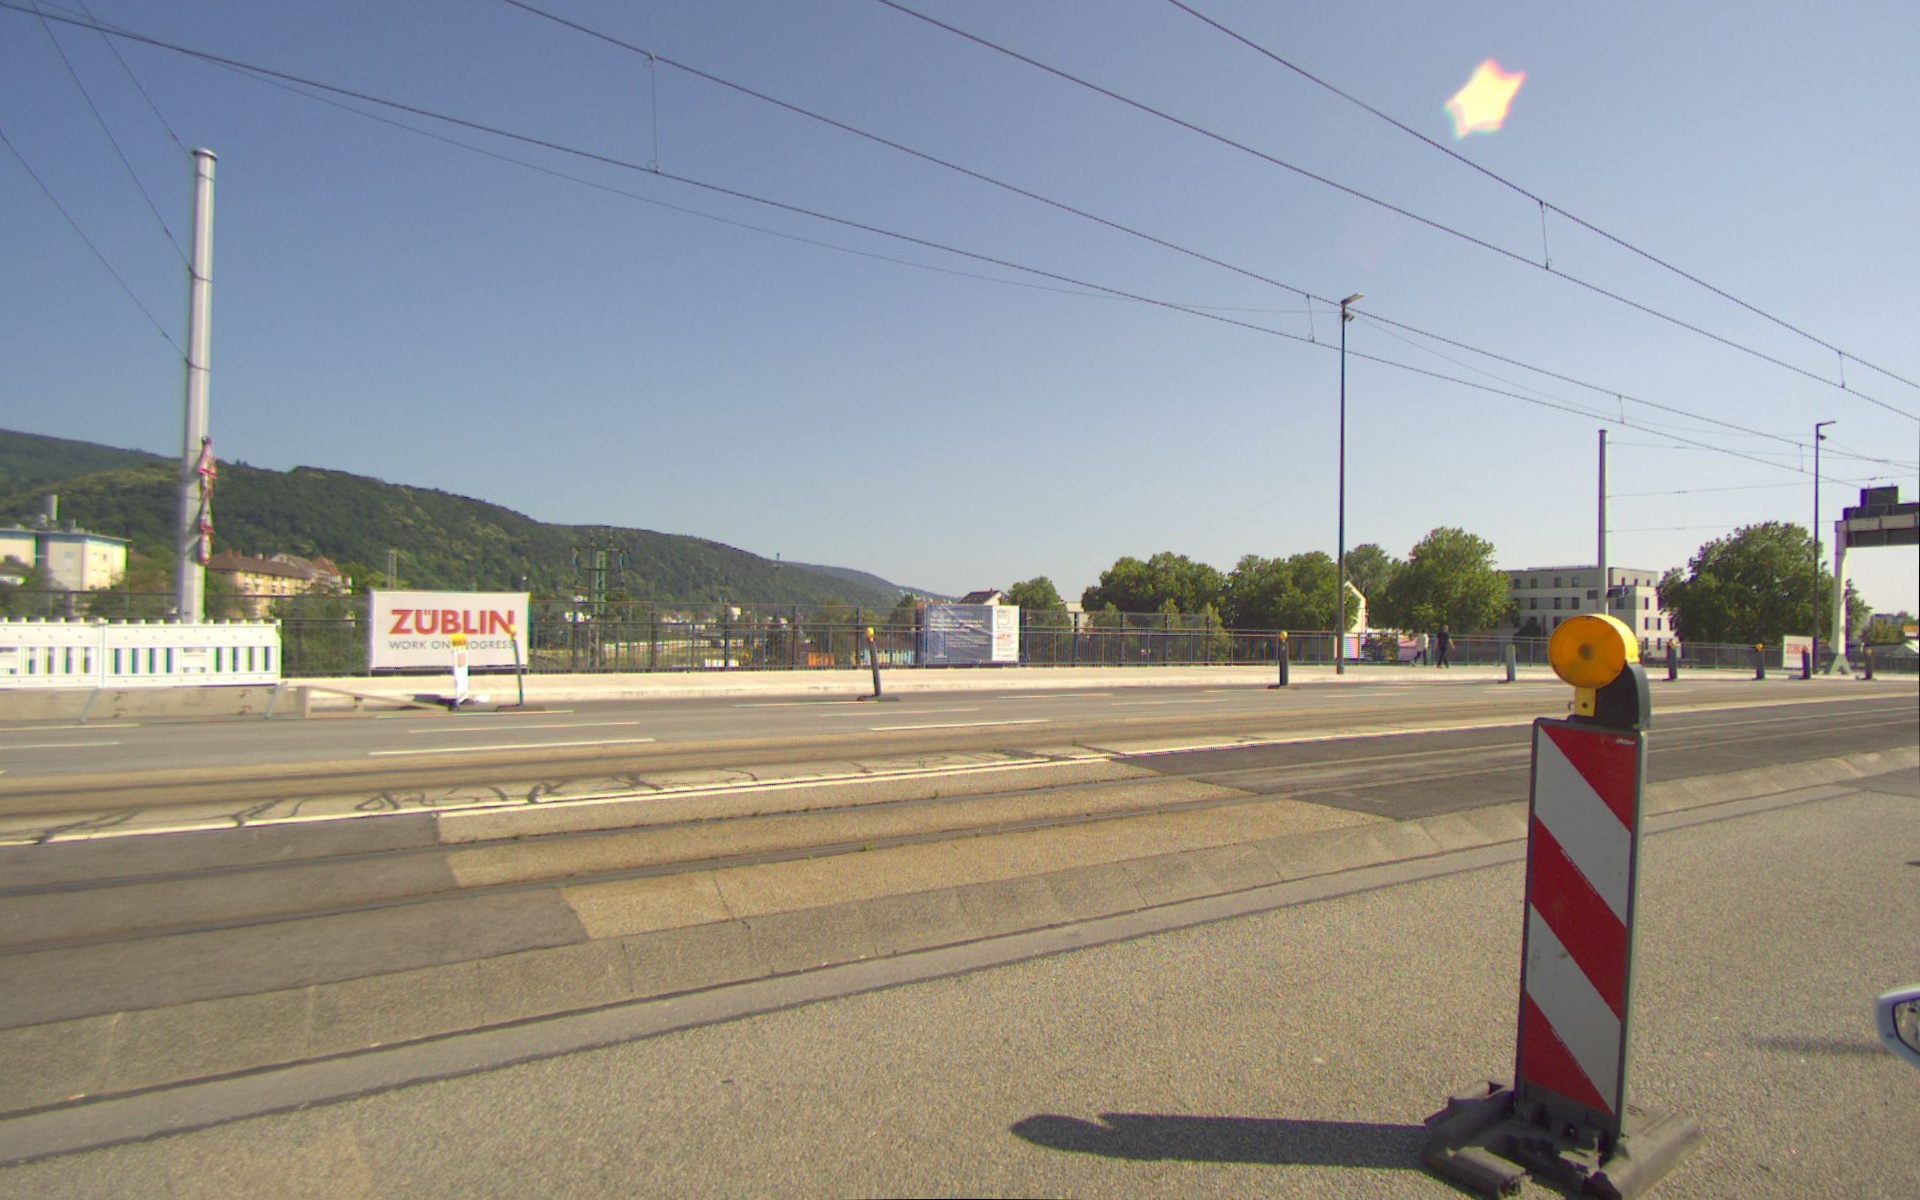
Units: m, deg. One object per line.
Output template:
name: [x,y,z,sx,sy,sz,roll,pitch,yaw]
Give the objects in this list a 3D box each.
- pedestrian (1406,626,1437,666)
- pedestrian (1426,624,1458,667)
pedestrian: [18.810,1.861,40.949,0.878,1.565,0.716,2,1,-30]
pedestrian: [19.270,1.811,40.144,0.884,1.663,0.740,2,1,-30]
